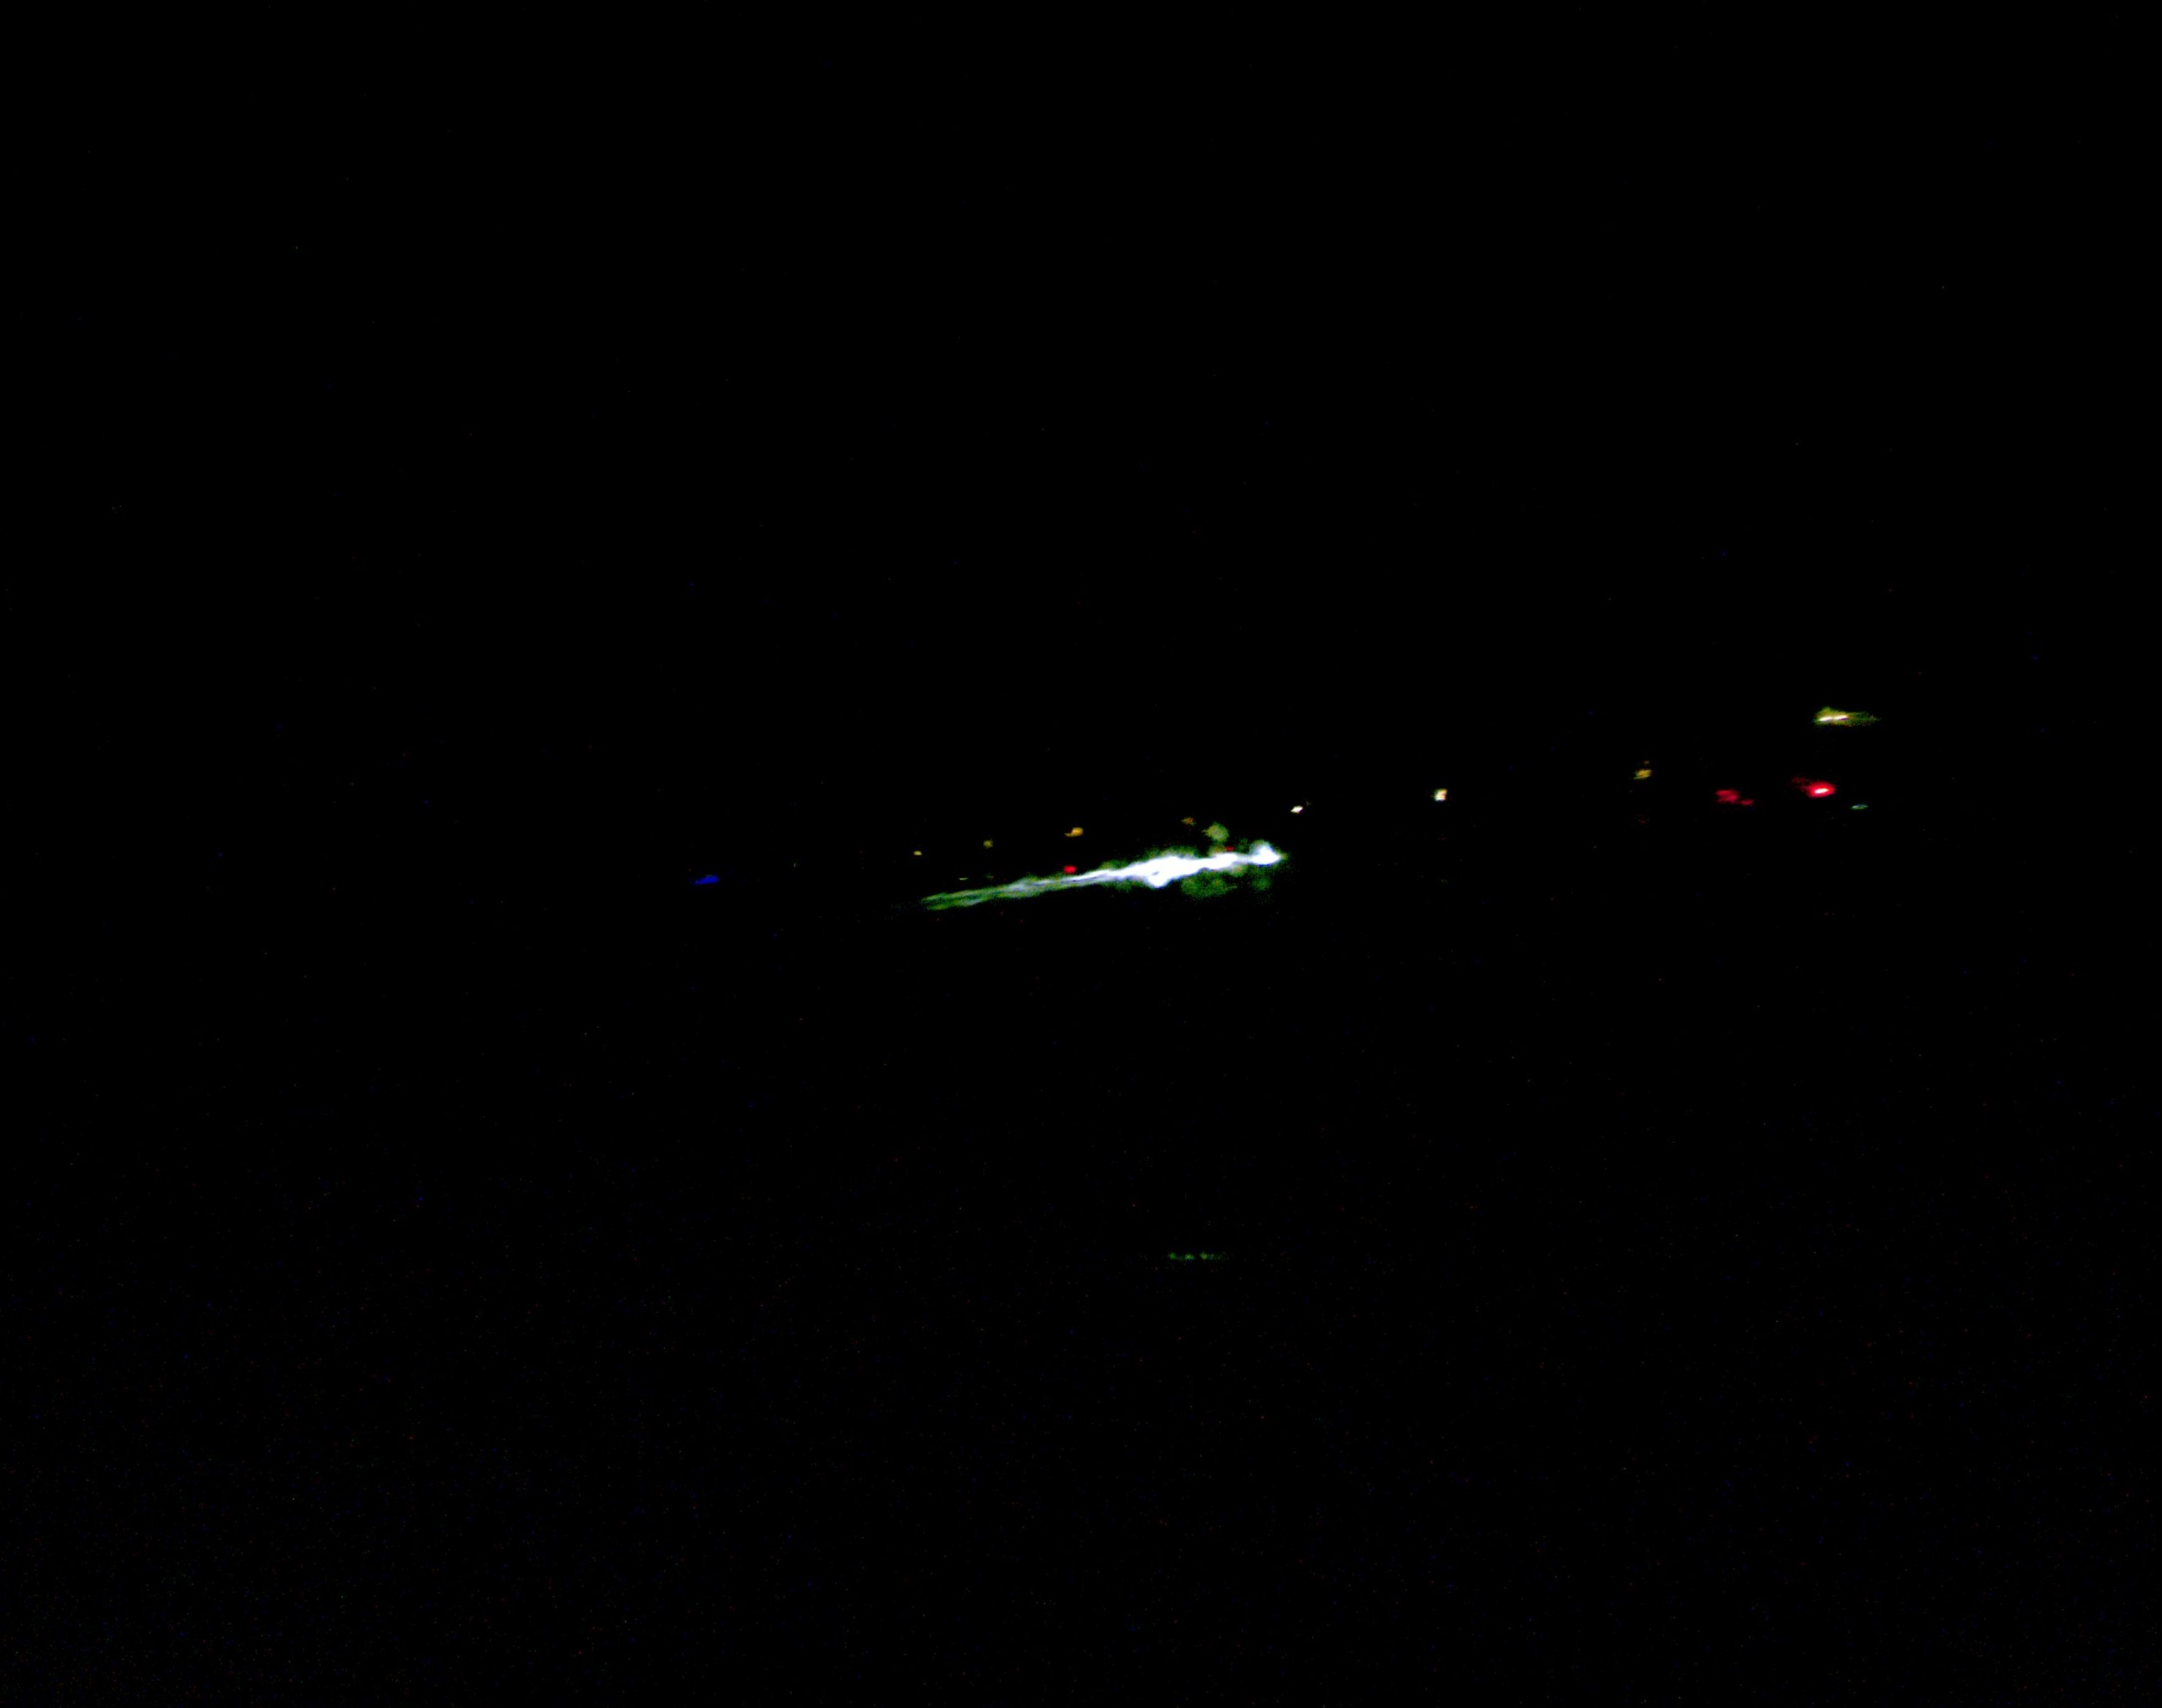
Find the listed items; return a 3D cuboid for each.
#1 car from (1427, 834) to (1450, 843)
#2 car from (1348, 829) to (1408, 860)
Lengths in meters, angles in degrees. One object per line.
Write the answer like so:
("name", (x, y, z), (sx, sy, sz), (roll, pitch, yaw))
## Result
("car", (71.107, -3.070, 151.213), (3.990, 1.432, 1.722), (-4, -1, 31))
("car", (19.067, -0.635, 48.692), (1.995, 1.737, 4.107), (-4, 0, 45))
